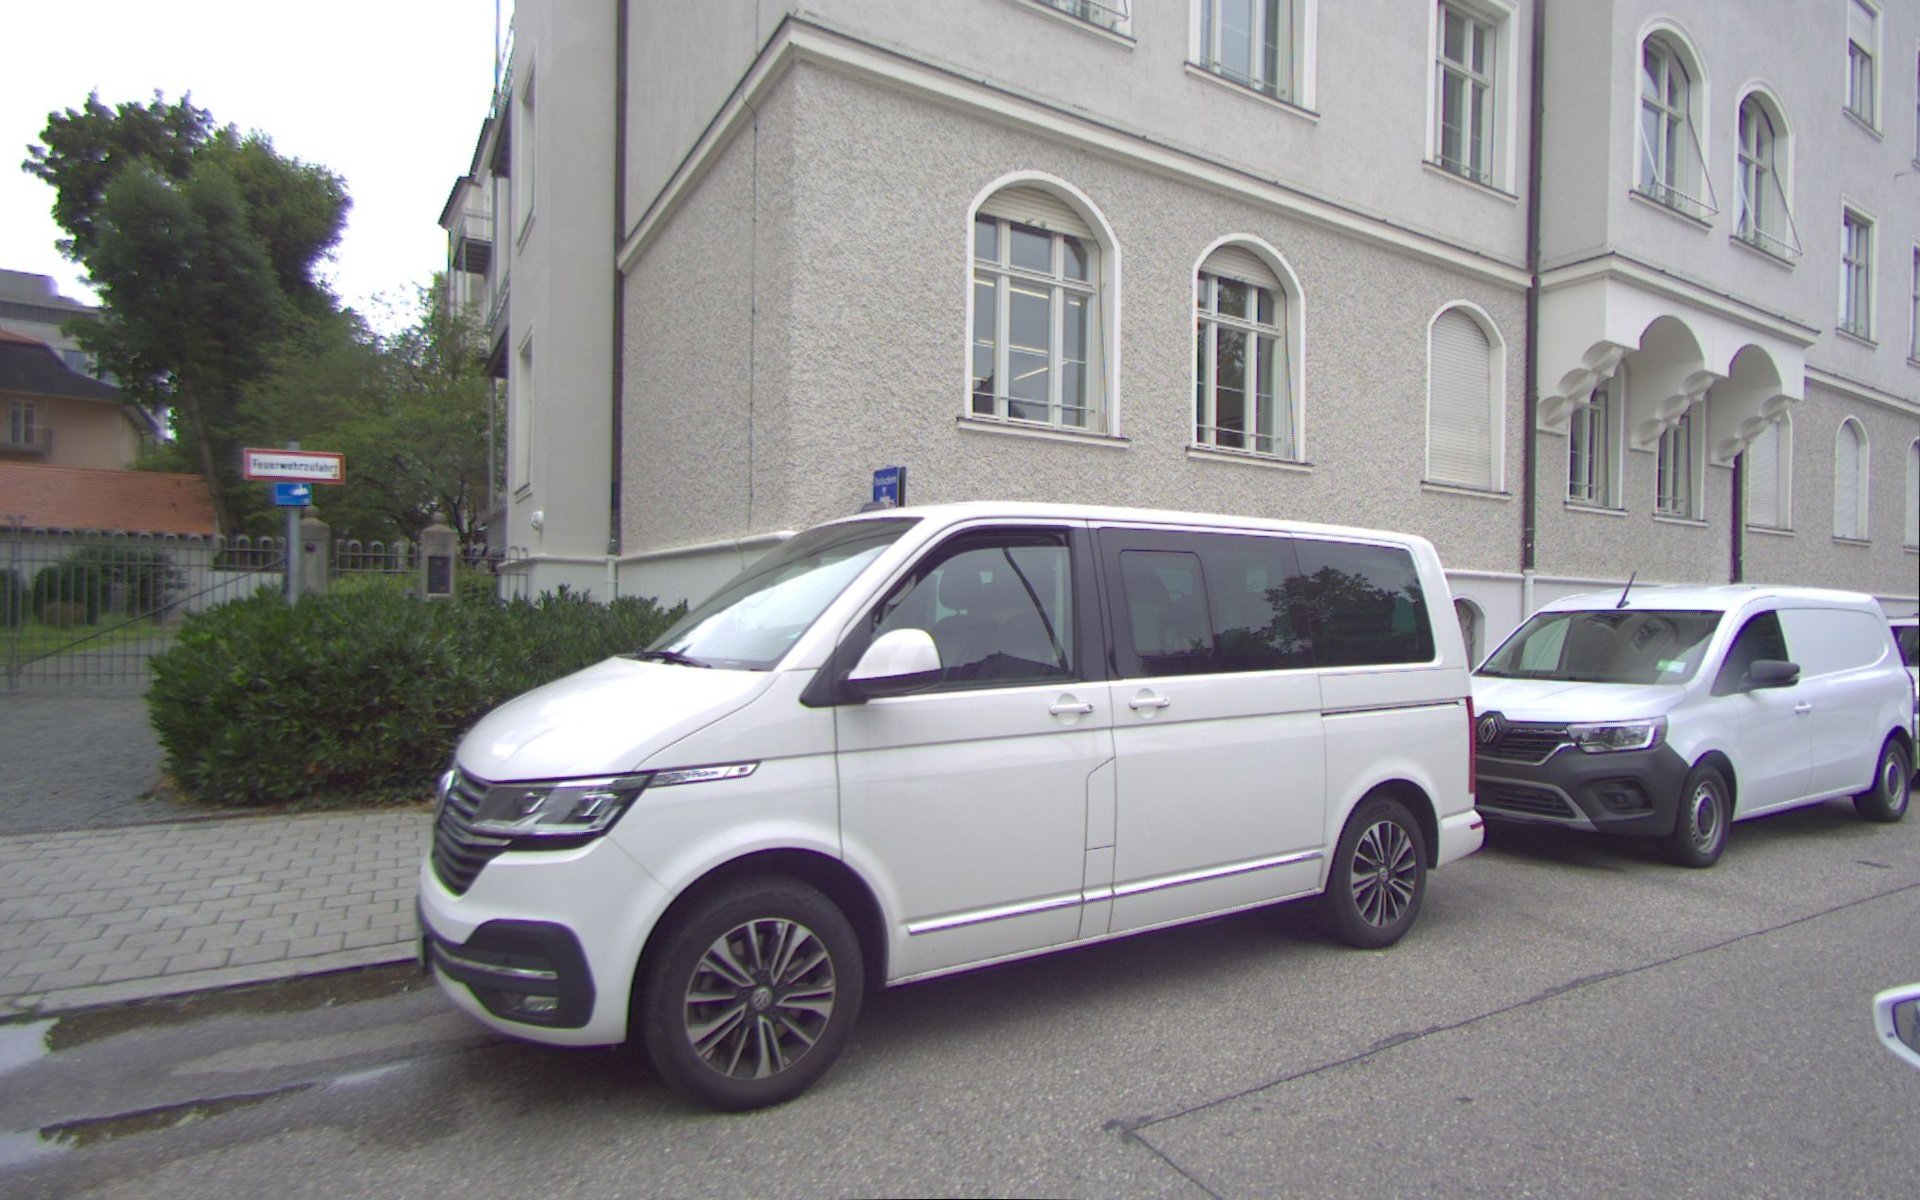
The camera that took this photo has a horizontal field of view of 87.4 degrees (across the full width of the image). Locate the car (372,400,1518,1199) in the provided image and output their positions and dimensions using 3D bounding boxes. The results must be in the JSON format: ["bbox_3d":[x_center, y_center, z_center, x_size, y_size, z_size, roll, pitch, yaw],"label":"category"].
[{"bbox_3d":[0.216,0.551,4.507,4.901,1.964,1.846,1,-1,-31],"label":"car"}]

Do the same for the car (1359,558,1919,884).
[{"bbox_3d":[5.377,0.727,7.646,4.979,1.812,1.738,1,-1,-31],"label":"car"}]

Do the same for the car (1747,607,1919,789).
[{"bbox_3d":[10.236,0.920,10.538,4.446,1.623,1.737,1,-1,-32],"label":"car"}]
